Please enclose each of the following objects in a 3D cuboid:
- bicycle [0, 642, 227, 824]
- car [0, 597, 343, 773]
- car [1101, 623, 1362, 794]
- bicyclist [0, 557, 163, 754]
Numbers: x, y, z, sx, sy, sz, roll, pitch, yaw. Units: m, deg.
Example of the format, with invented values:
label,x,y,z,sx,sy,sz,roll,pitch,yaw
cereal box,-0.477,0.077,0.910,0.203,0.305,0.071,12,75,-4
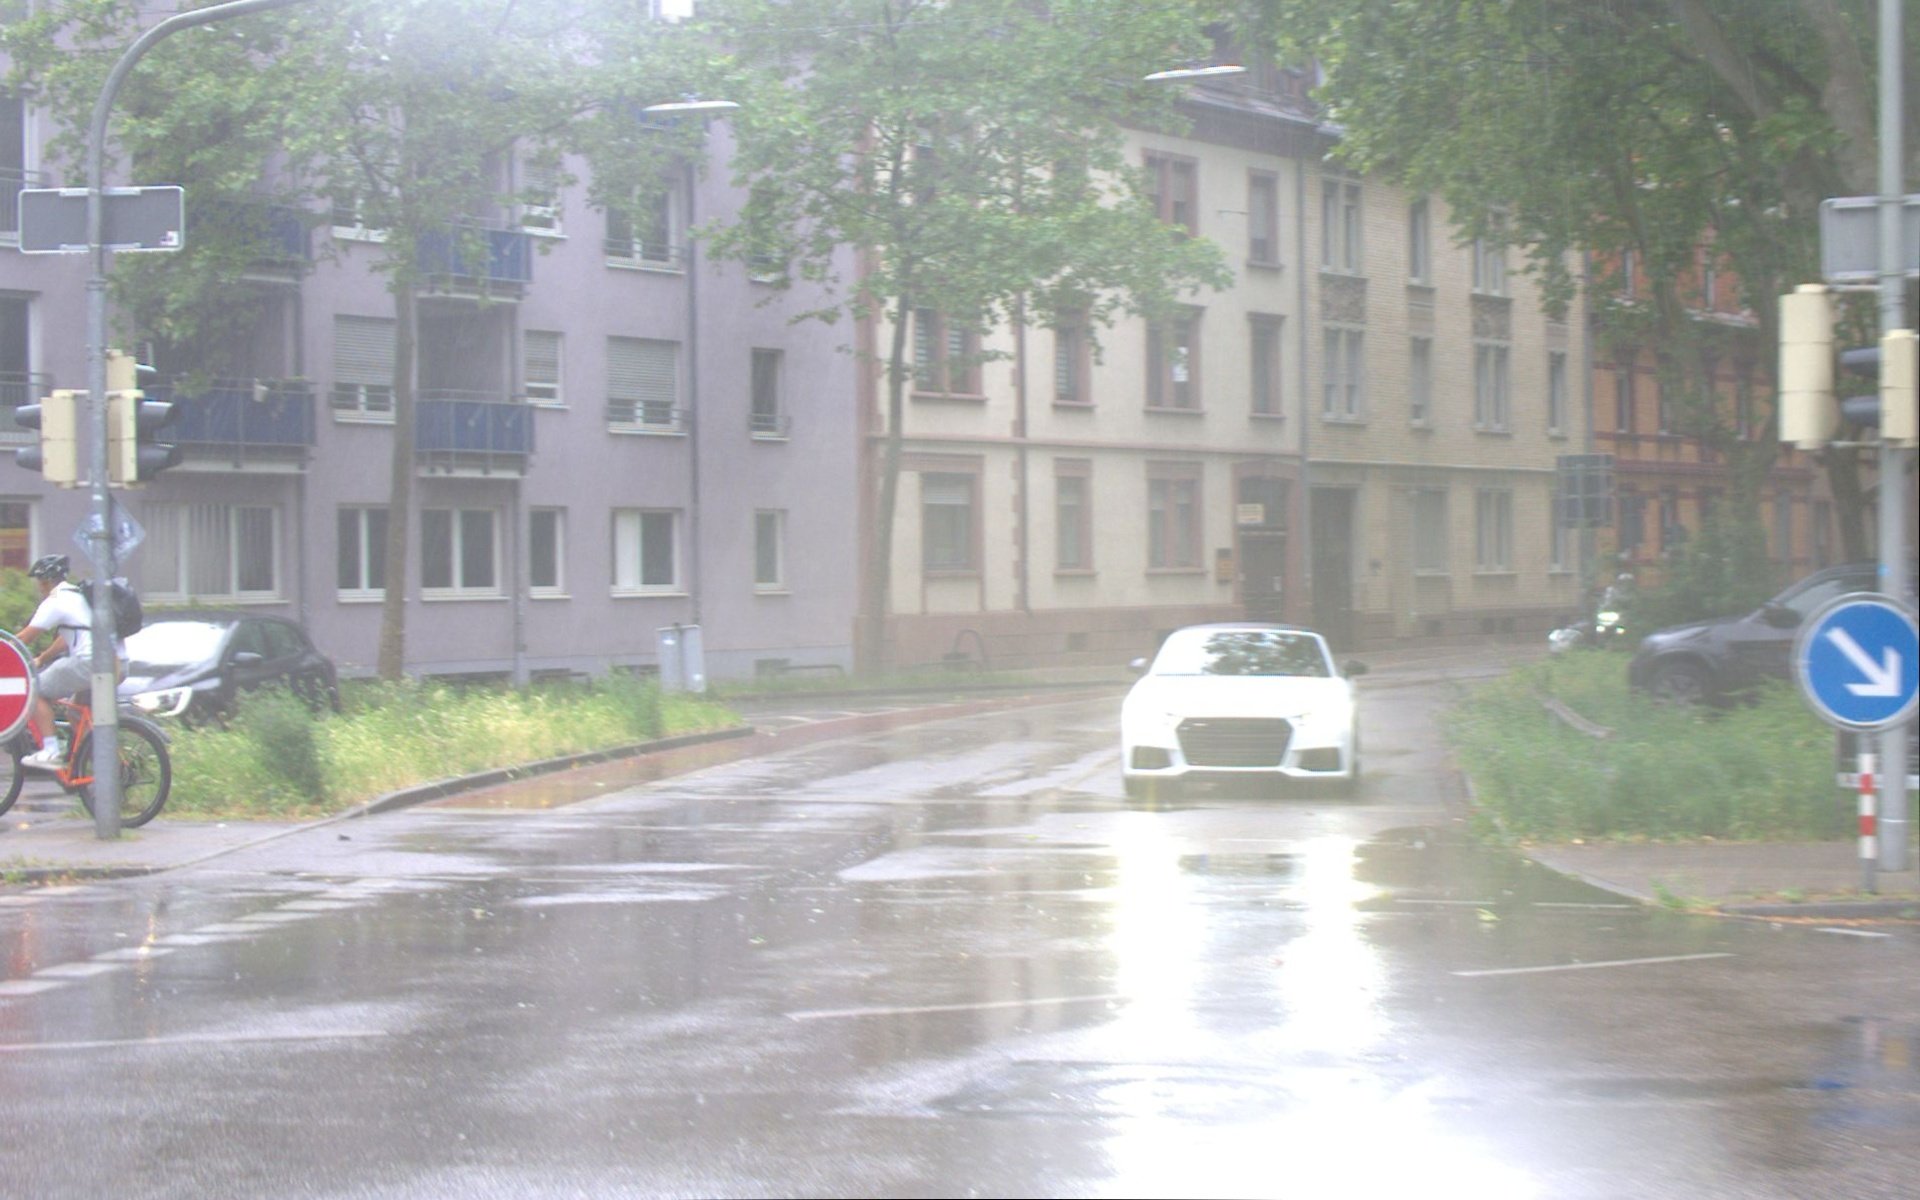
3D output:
label,x,y,z,sx,sy,sz,roll,pitch,yaw
bicycle,-6.098,0.890,23.448,2.036,1.169,0.752,0,1,19
car,-7.298,0.720,31.389,1.989,1.456,4.176,0,0,10
car,2.301,0.839,28.213,1.897,1.271,4.171,0,0,8
bicyclist,-6.109,0.366,23.445,1.074,1.305,0.742,0,1,18
